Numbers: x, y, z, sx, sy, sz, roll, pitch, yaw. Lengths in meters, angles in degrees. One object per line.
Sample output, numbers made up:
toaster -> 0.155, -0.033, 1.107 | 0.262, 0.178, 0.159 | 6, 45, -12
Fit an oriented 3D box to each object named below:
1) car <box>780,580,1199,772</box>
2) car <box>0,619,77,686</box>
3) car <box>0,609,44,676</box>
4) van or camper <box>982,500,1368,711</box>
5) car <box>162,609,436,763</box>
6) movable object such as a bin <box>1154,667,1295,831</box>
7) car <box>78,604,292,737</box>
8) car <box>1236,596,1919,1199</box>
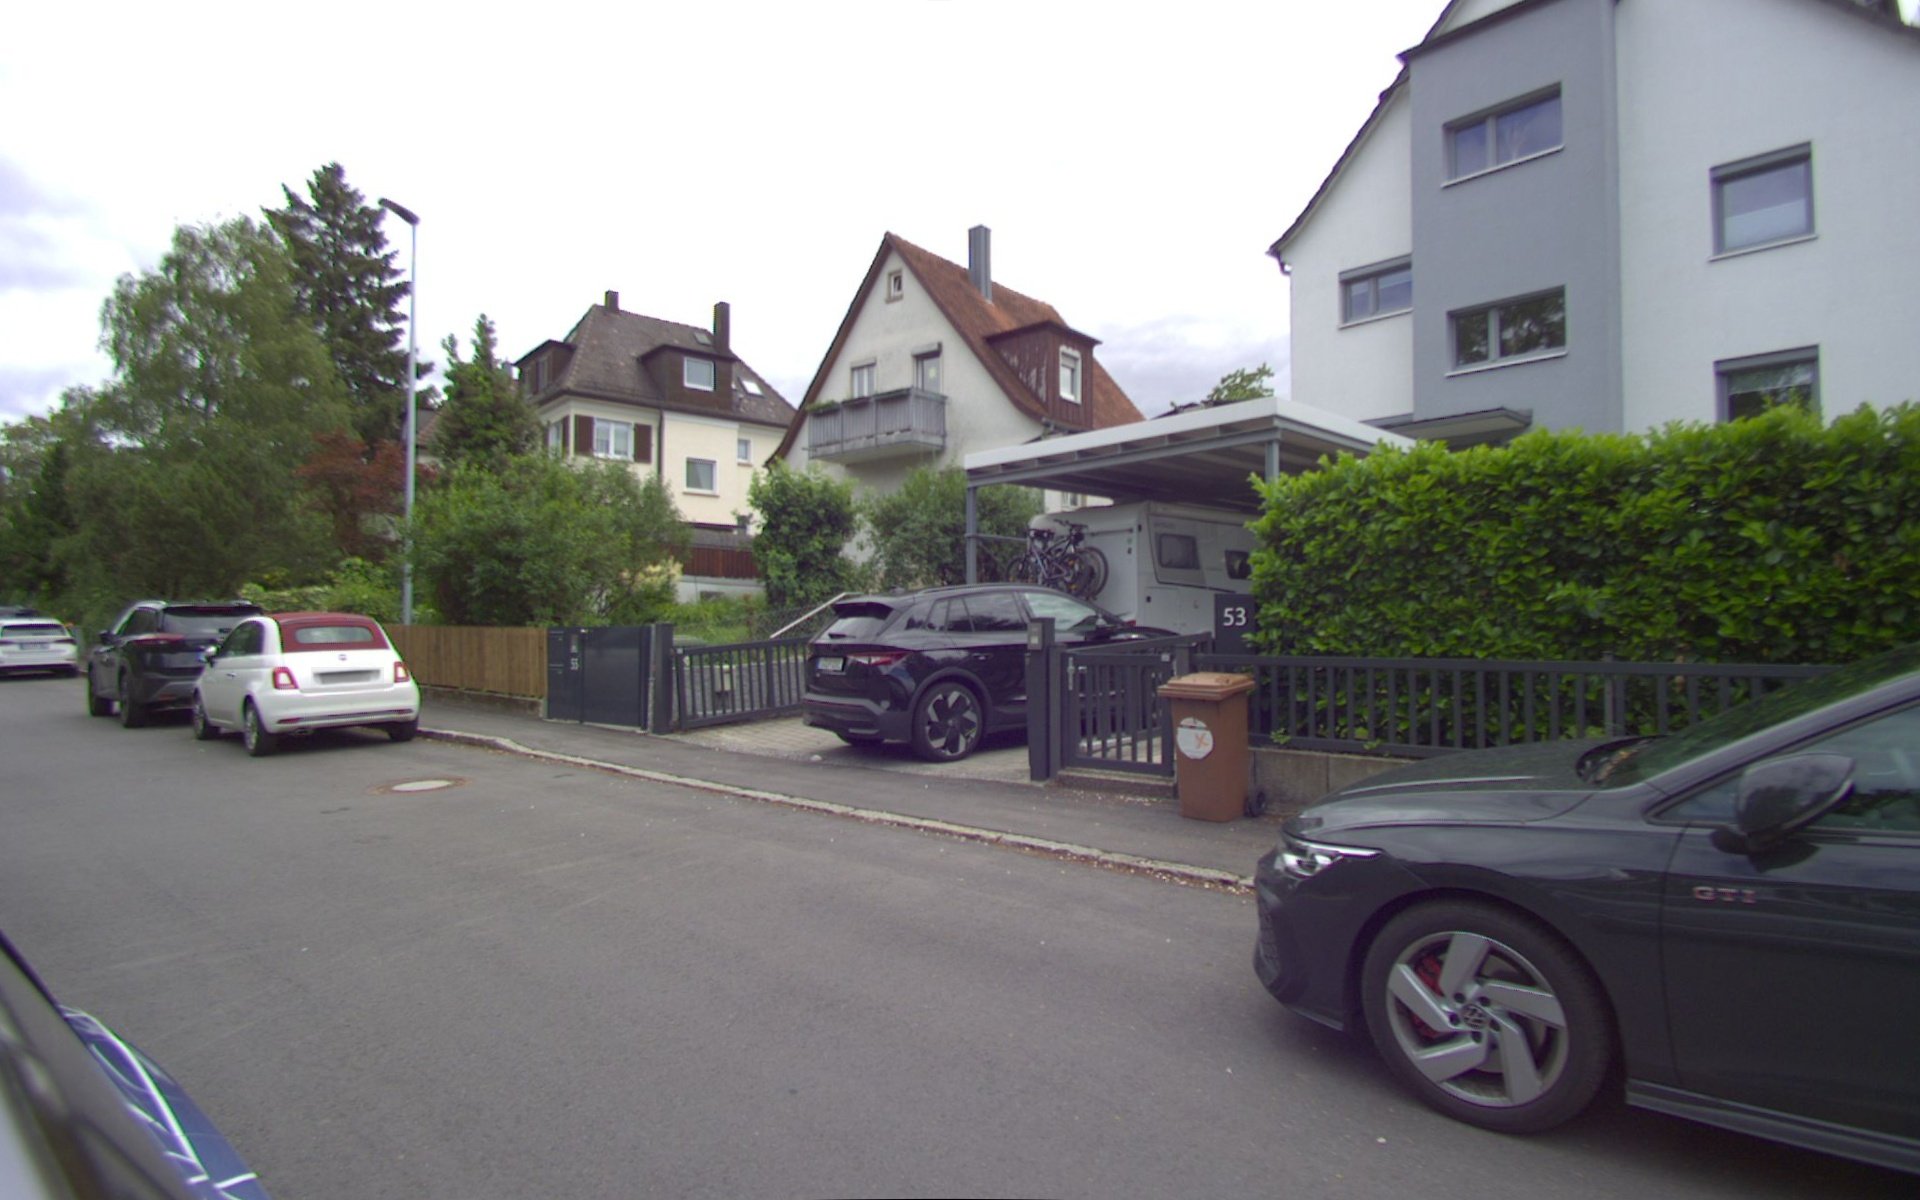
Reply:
car -> 0.382, 0.629, 10.342 | 3.934, 1.559, 1.846 | -2, 0, -35
car -> -23.309, 1.256, 25.063 | 4.554, 1.523, 1.688 | -1, -1, 42
car -> -27.637, 1.191, 28.942 | 4.296, 1.813, 1.689 | -1, -1, 41
van or camper -> 3.610, -0.001, 15.871 | 6.597, 2.671, 2.327 | -2, 0, -41
car -> -7.955, 0.906, 12.044 | 3.943, 1.523, 1.689 | -1, -1, 40
movable object such as a bin -> 1.697, 0.919, 6.494 | 0.654, 0.929, 0.623 | -1, -1, 42
car -> -11.515, 0.930, 14.918 | 4.391, 1.677, 1.772 | -1, -1, 42
car -> 2.983, 0.695, 2.437 | 4.146, 1.427, 1.689 | -1, -1, 40
